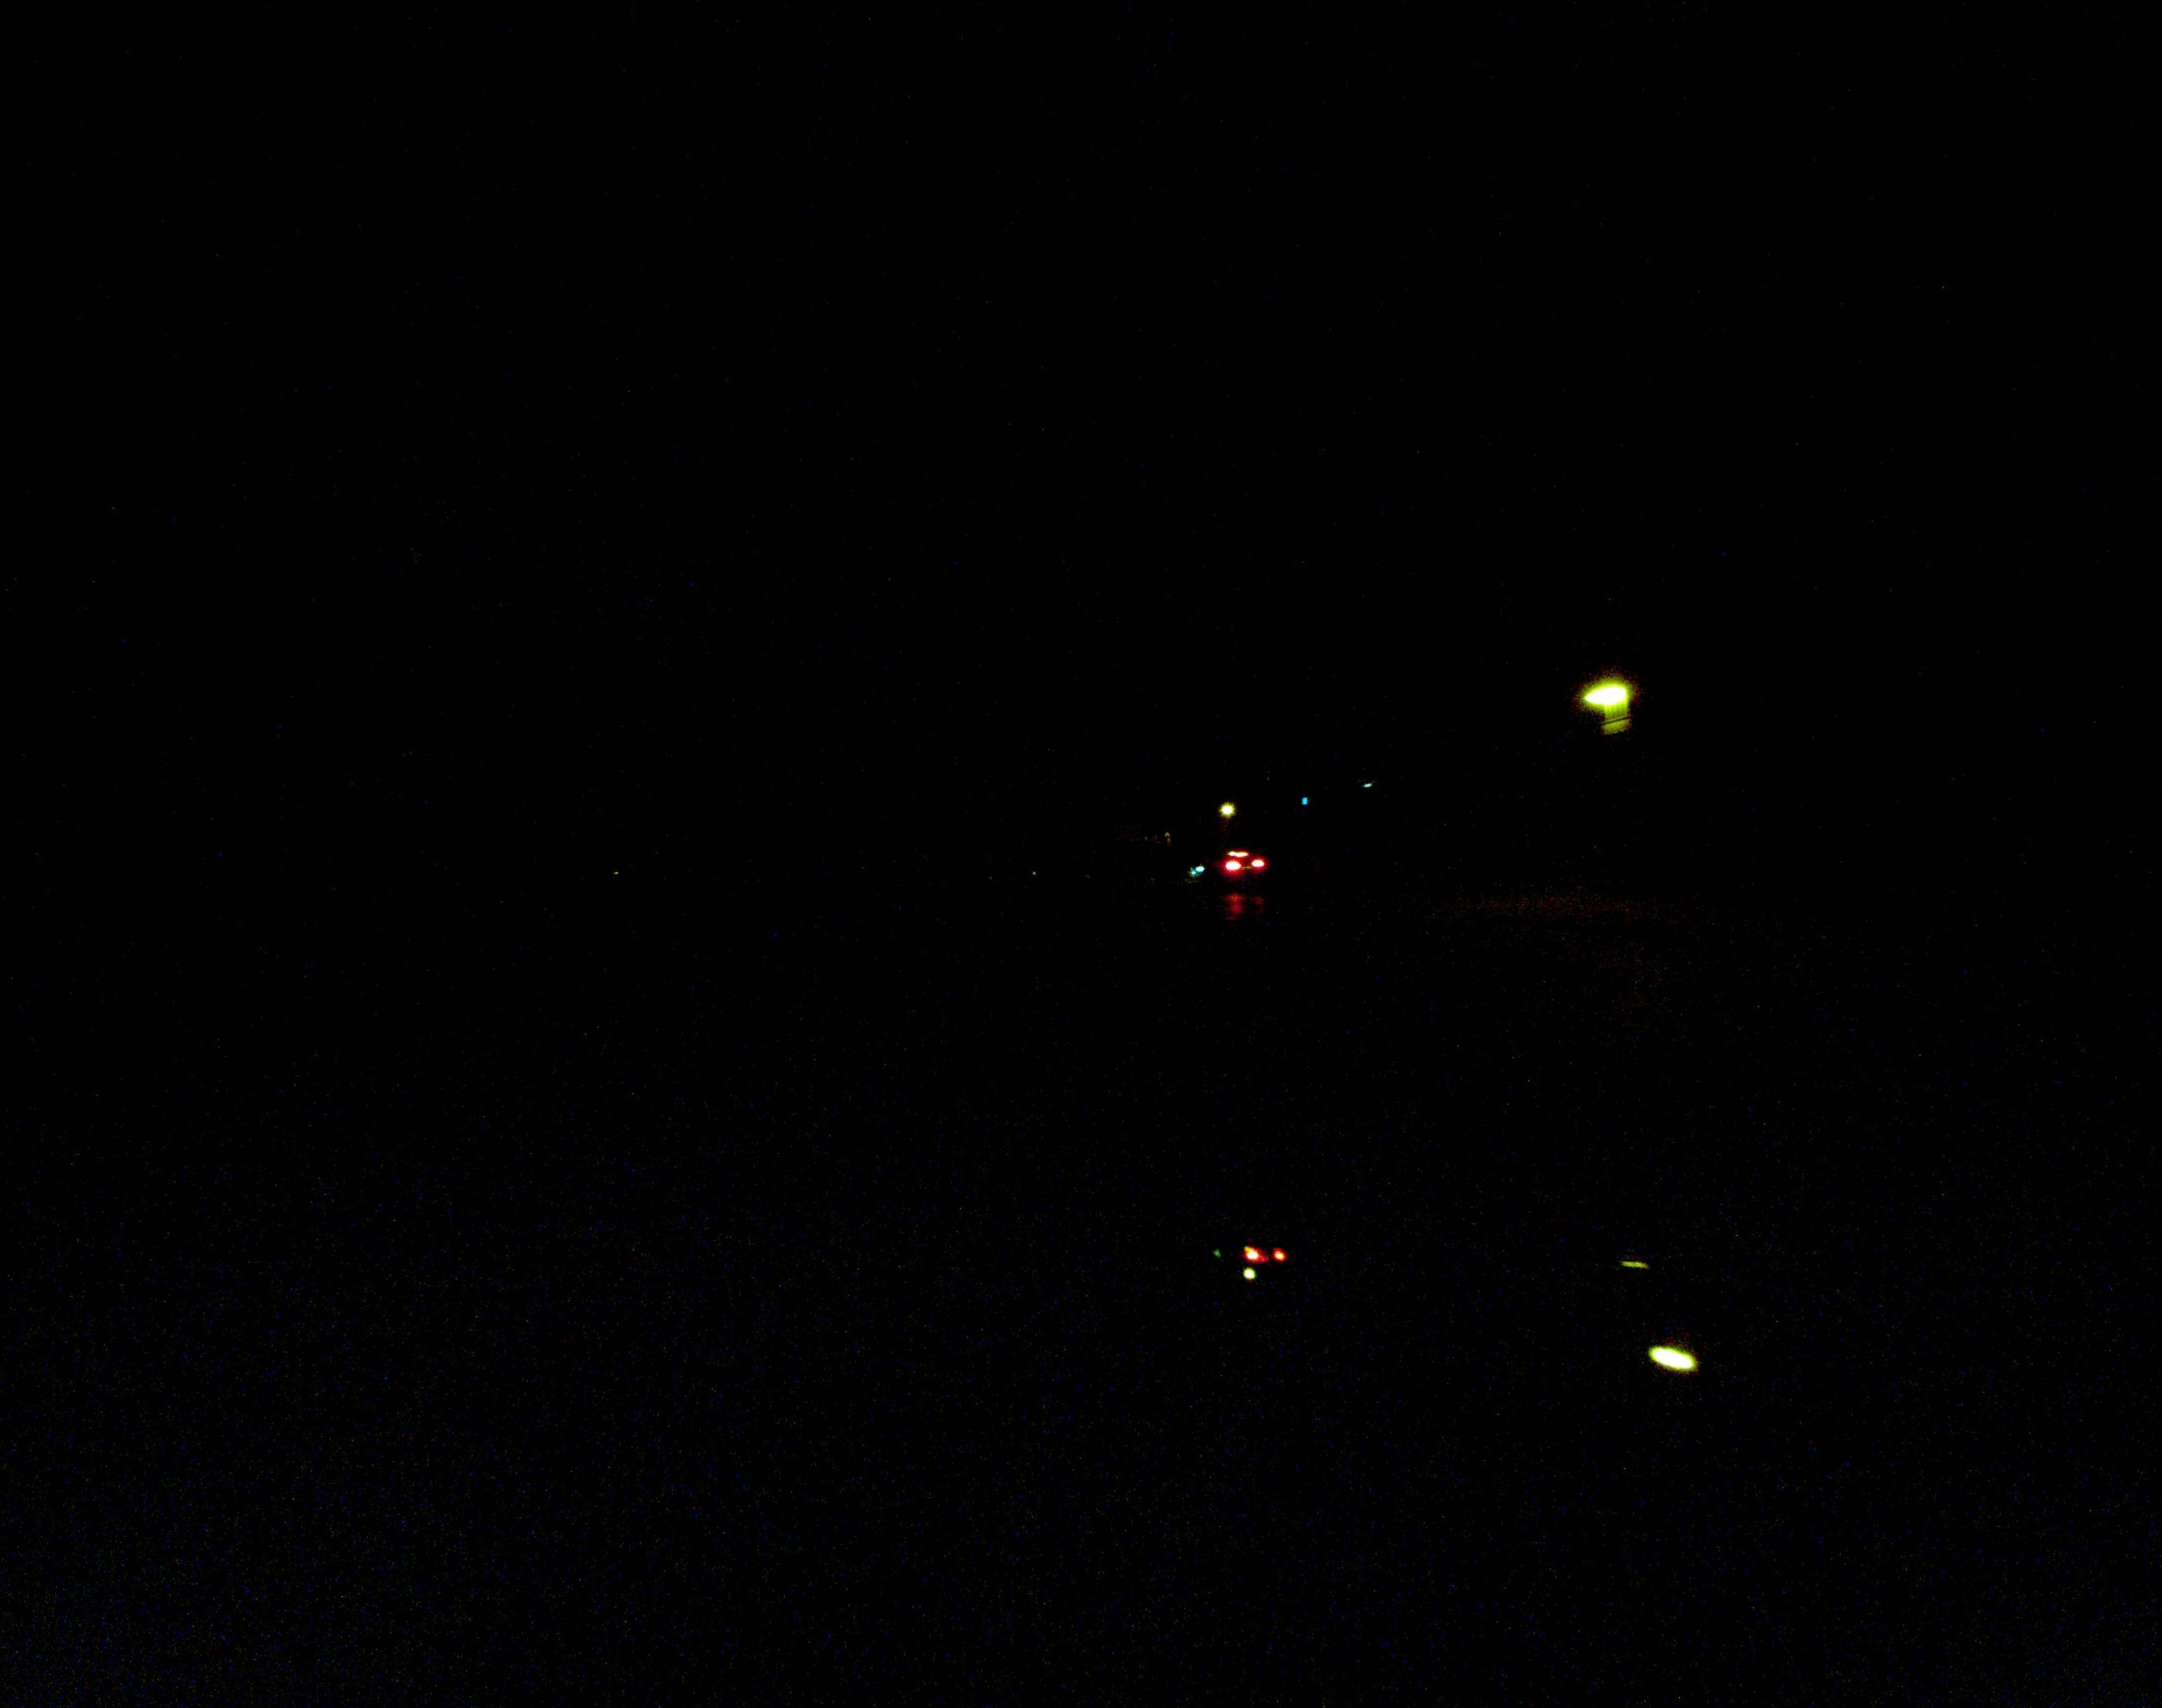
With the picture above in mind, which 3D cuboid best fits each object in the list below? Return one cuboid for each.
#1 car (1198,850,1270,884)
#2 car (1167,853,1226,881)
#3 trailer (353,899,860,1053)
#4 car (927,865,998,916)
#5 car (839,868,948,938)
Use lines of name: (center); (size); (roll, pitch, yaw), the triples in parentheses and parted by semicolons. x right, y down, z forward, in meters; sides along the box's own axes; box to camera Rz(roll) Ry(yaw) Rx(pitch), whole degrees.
car: (7.233, 0.609, 36.490); (1.854, 1.436, 4.913); (-4, 0, -7)
car: (6.510, 0.738, 43.239); (2.000, 1.371, 4.595); (-4, 0, -8)
trailer: (-6.481, 1.595, 12.922); (2.179, 0.961, 9.618); (-5, -1, 2)
car: (-4.205, 1.263, 27.558); (1.999, 1.542, 4.325); (-4, -1, -3)
car: (-4.939, 1.224, 20.596); (1.940, 1.543, 4.000); (-4, 0, -1)
